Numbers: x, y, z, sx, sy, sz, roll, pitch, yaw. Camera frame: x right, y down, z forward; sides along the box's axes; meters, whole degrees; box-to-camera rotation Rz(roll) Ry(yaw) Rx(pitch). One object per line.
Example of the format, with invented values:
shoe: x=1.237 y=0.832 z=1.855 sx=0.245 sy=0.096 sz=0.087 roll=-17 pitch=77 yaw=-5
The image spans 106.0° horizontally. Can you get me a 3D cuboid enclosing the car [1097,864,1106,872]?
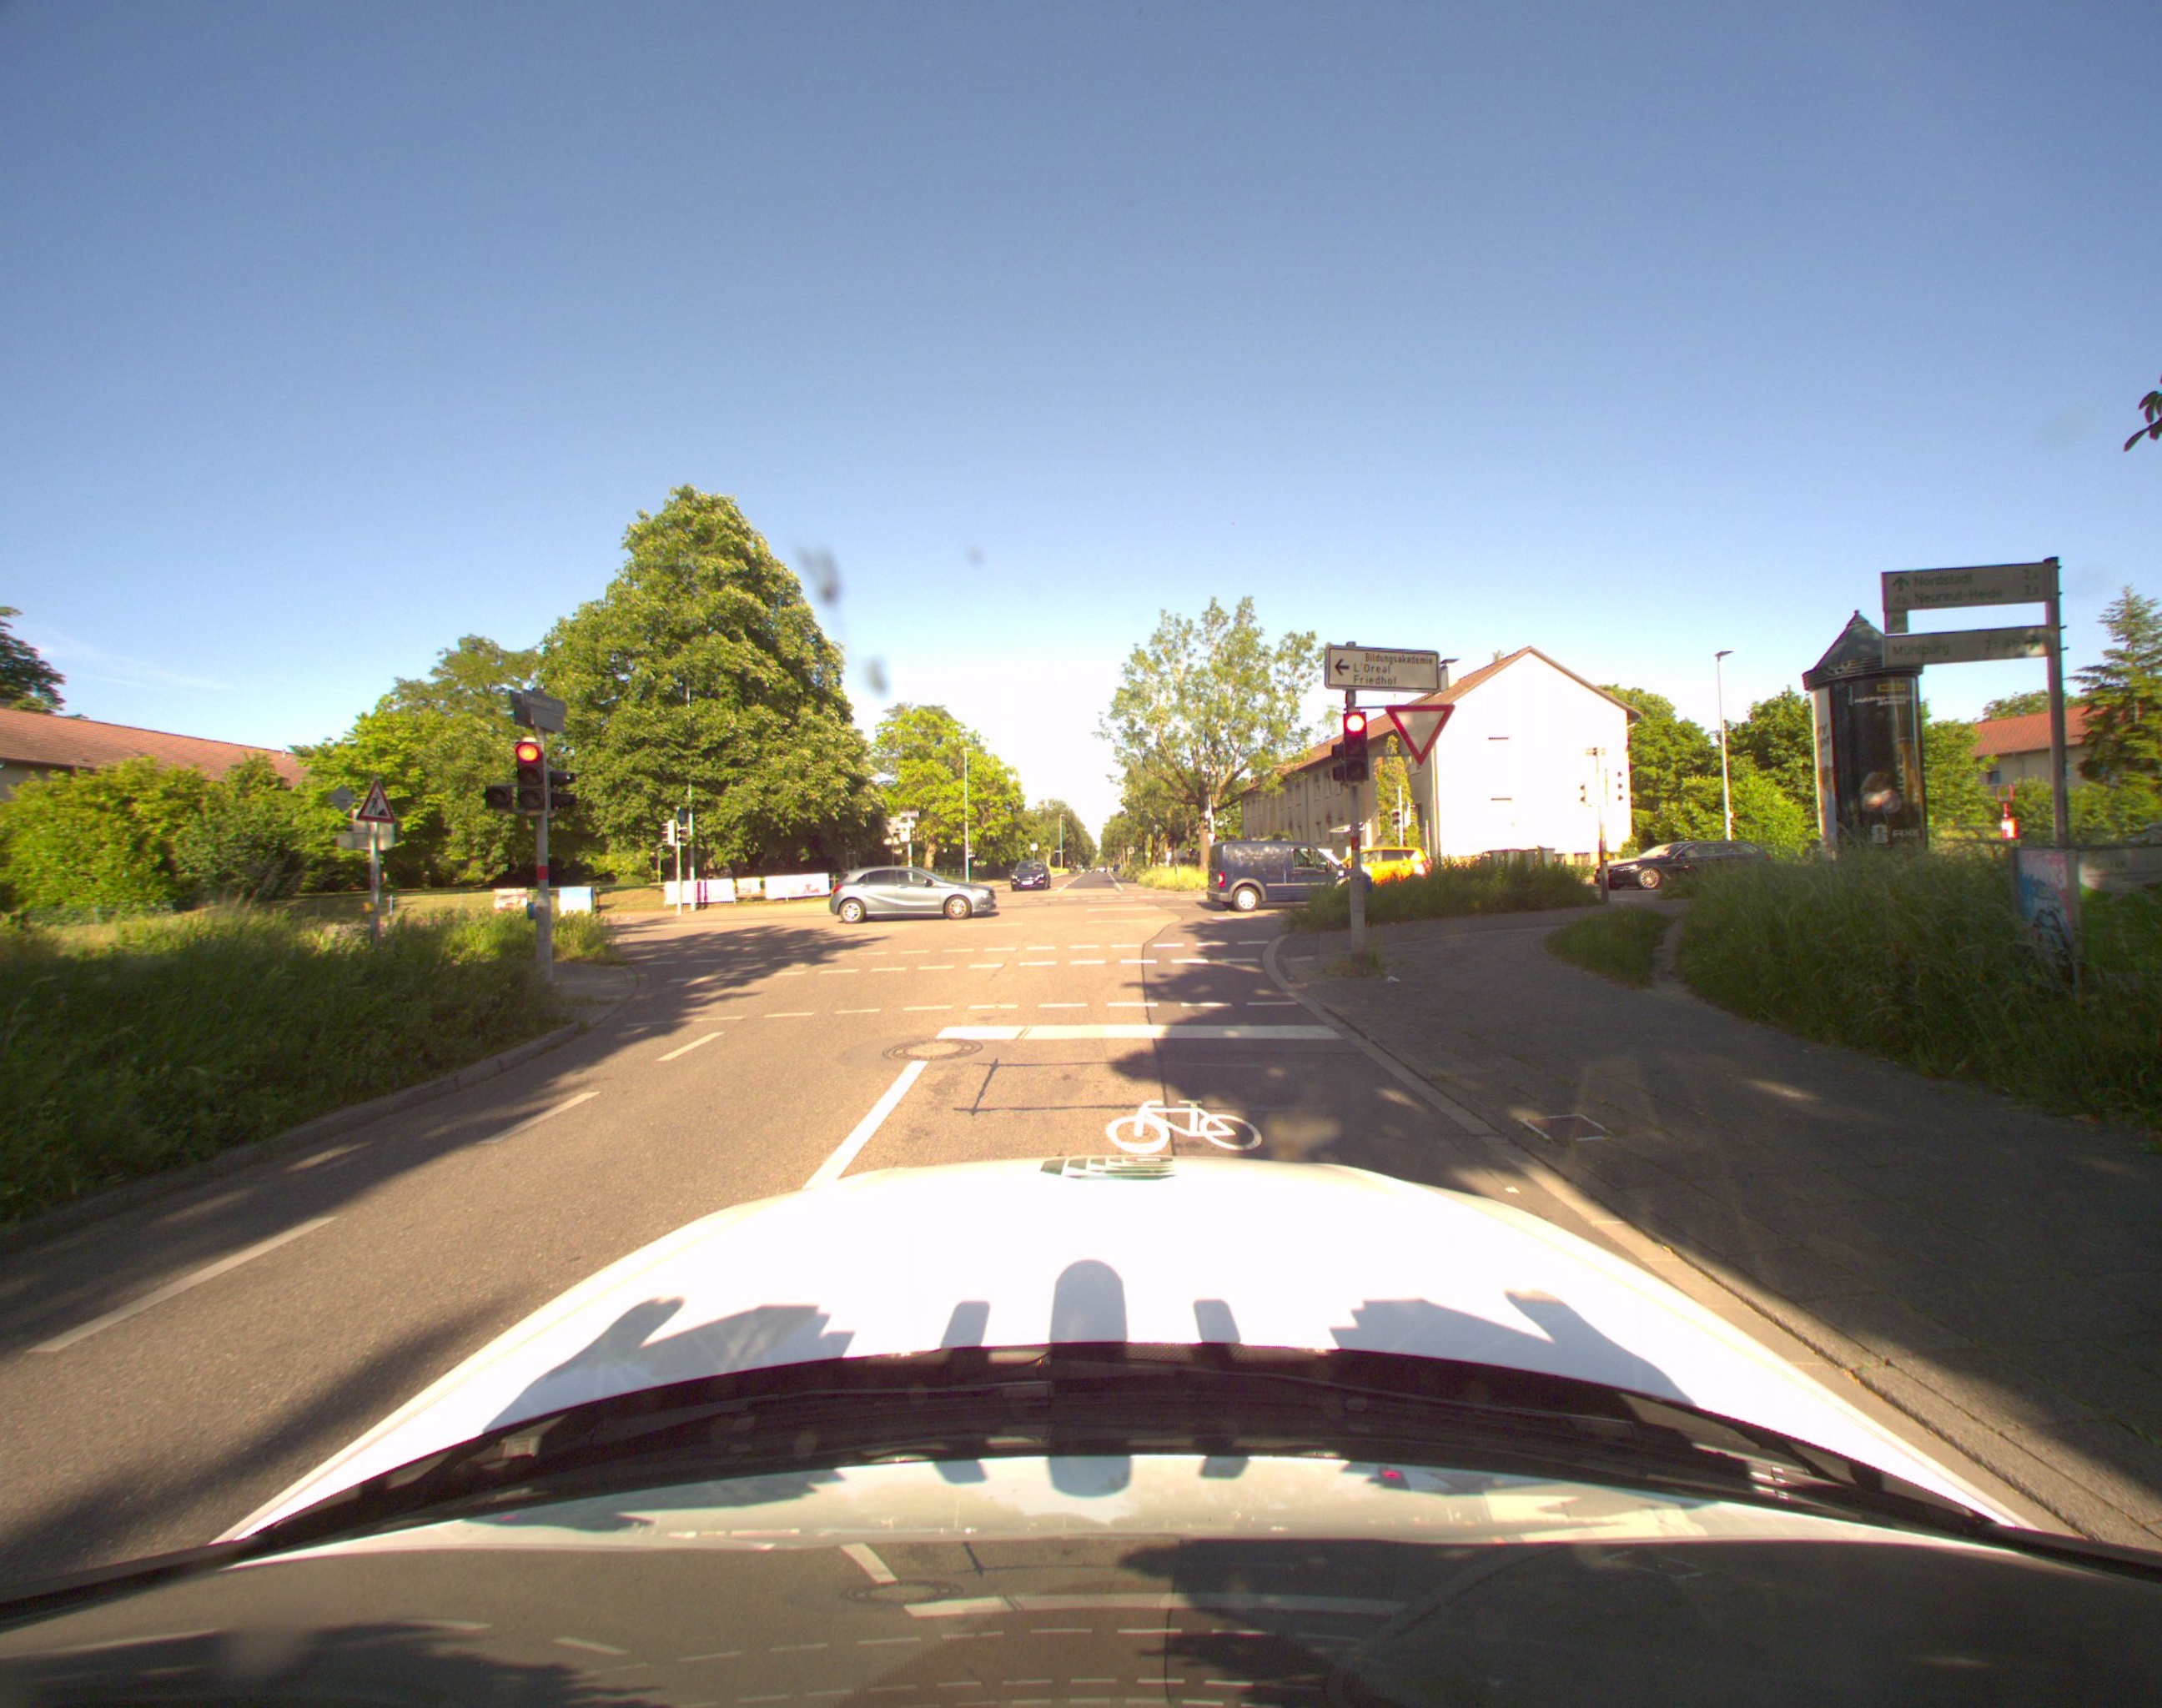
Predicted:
car: x=4.082 y=2.766 z=162.088 sx=1.838 sy=1.461 sz=3.531 roll=-2 pitch=0 yaw=1

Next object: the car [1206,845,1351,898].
car: x=6.106 y=0.543 z=25.488 sx=4.094 sy=1.563 sz=1.757 roll=-1 pitch=-1 yaw=-1

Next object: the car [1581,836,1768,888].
car: x=18.532 y=0.230 z=25.527 sx=4.726 sy=1.430 sz=1.994 roll=-2 pitch=0 yaw=-9

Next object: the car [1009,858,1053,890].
car: x=-2.359 y=0.928 z=39.230 sx=1.704 sy=1.385 sz=3.473 roll=-2 pitch=0 yaw=3

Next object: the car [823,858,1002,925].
car: x=-4.343 y=0.946 z=21.532 sx=4.270 sy=1.489 sz=1.913 roll=-2 pitch=0 yaw=-1

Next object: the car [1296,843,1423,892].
car: x=9.436 y=0.460 z=27.615 sx=3.952 sy=1.582 sz=1.767 roll=-1 pitch=-1 yaw=22

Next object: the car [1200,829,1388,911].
car: x=5.434 y=0.393 z=21.127 sx=4.334 sy=1.887 sz=1.858 roll=-2 pitch=0 yaw=-3

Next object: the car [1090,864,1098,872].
car: x=3.137 y=3.414 z=199.174 sx=1.751 sy=1.624 sz=3.271 roll=-2 pitch=0 yaw=3

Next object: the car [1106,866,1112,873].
car: x=7.554 y=4.154 z=219.295 sx=1.766 sy=1.754 sz=4.002 roll=-1 pitch=-1 yaw=2
